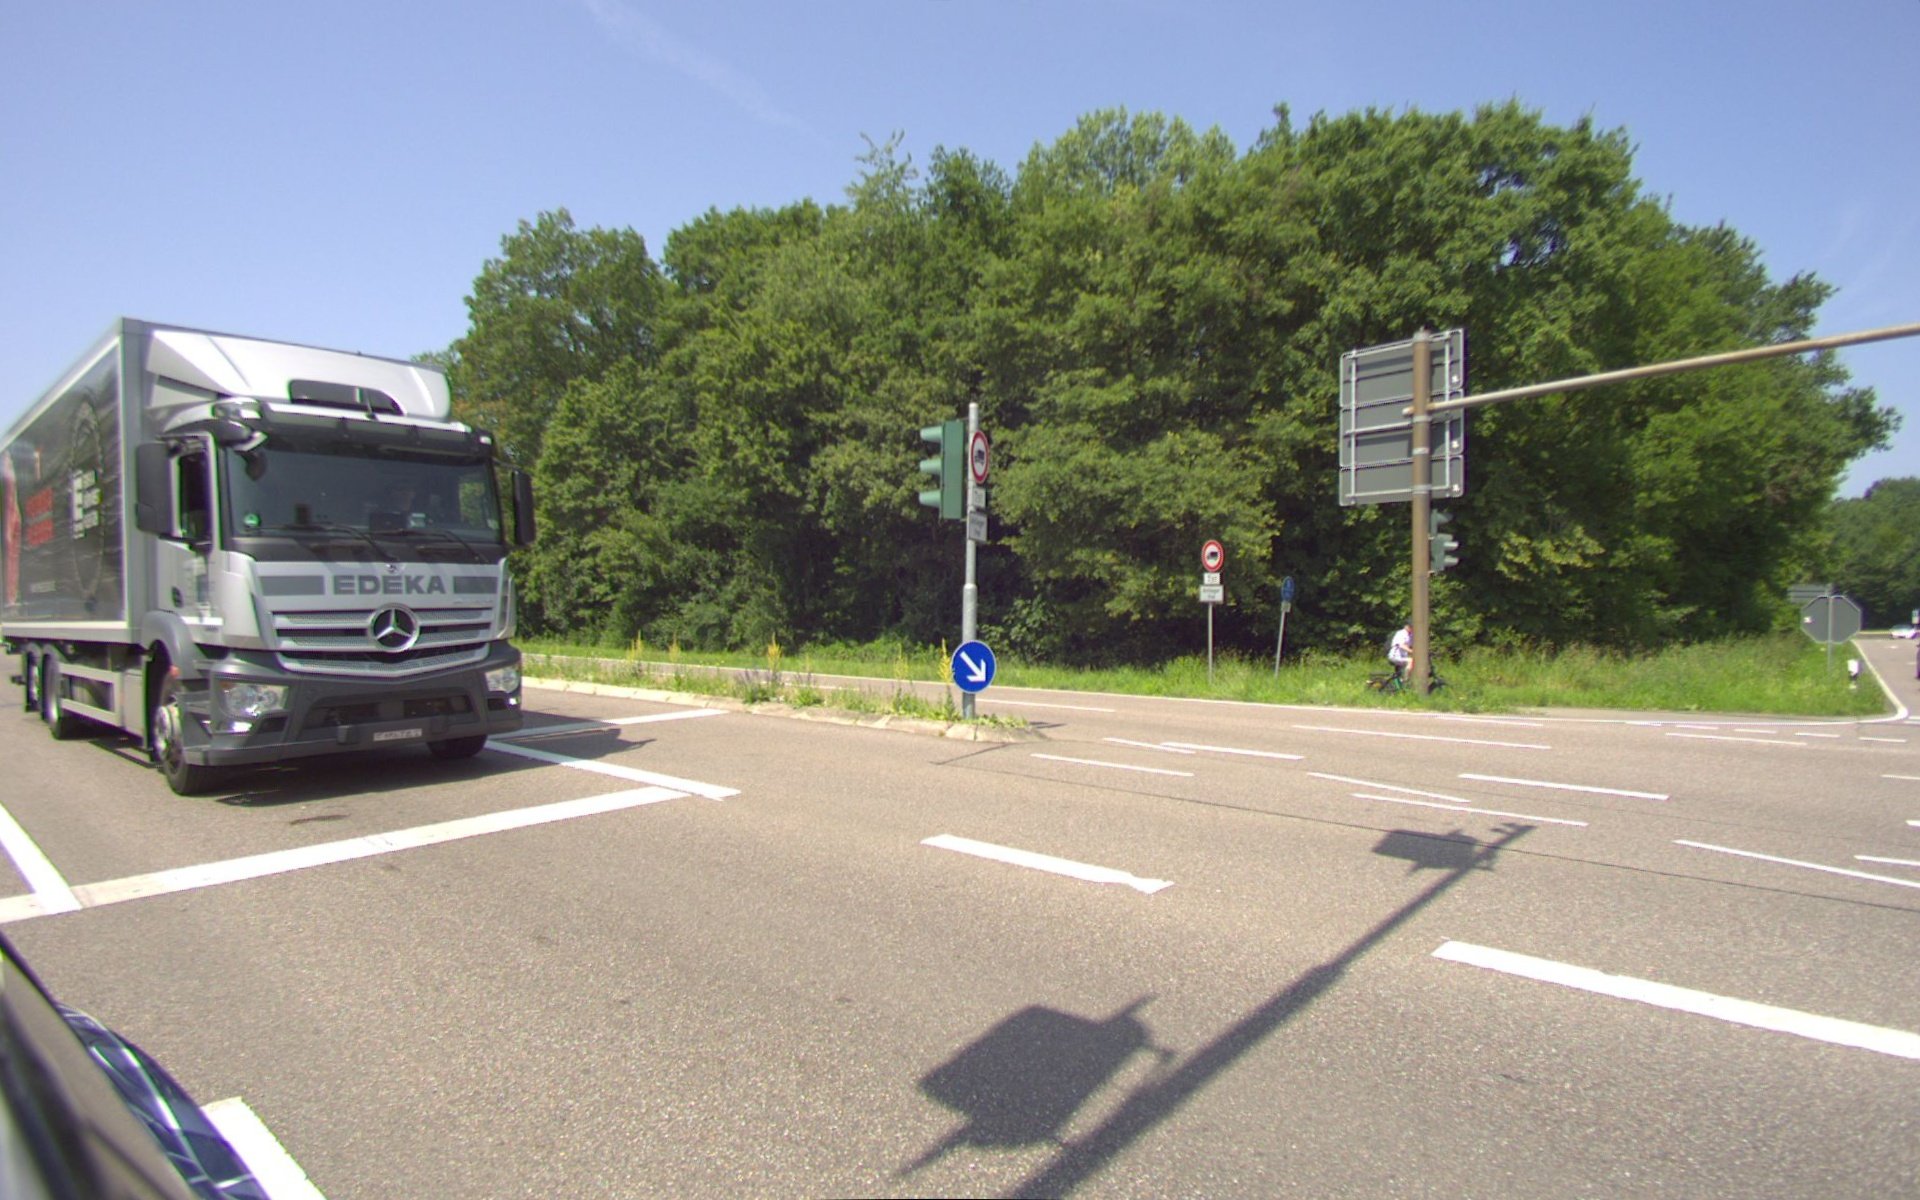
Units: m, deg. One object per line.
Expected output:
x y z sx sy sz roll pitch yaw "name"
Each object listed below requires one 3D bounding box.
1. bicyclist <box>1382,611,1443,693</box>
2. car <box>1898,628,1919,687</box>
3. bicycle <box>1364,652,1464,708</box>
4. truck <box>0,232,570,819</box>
8.369 0.948 18.723 0.651 1.476 0.811 1 -2 -39 "bicyclist"
28.452 1.631 29.161 1.871 1.648 4.353 -1 -2 40 "car"
8.362 1.458 18.700 0.558 0.930 1.608 1 -1 -39 "bicycle"
-8.591 -0.473 11.474 11.313 3.914 2.718 -1 0 41 "truck"
